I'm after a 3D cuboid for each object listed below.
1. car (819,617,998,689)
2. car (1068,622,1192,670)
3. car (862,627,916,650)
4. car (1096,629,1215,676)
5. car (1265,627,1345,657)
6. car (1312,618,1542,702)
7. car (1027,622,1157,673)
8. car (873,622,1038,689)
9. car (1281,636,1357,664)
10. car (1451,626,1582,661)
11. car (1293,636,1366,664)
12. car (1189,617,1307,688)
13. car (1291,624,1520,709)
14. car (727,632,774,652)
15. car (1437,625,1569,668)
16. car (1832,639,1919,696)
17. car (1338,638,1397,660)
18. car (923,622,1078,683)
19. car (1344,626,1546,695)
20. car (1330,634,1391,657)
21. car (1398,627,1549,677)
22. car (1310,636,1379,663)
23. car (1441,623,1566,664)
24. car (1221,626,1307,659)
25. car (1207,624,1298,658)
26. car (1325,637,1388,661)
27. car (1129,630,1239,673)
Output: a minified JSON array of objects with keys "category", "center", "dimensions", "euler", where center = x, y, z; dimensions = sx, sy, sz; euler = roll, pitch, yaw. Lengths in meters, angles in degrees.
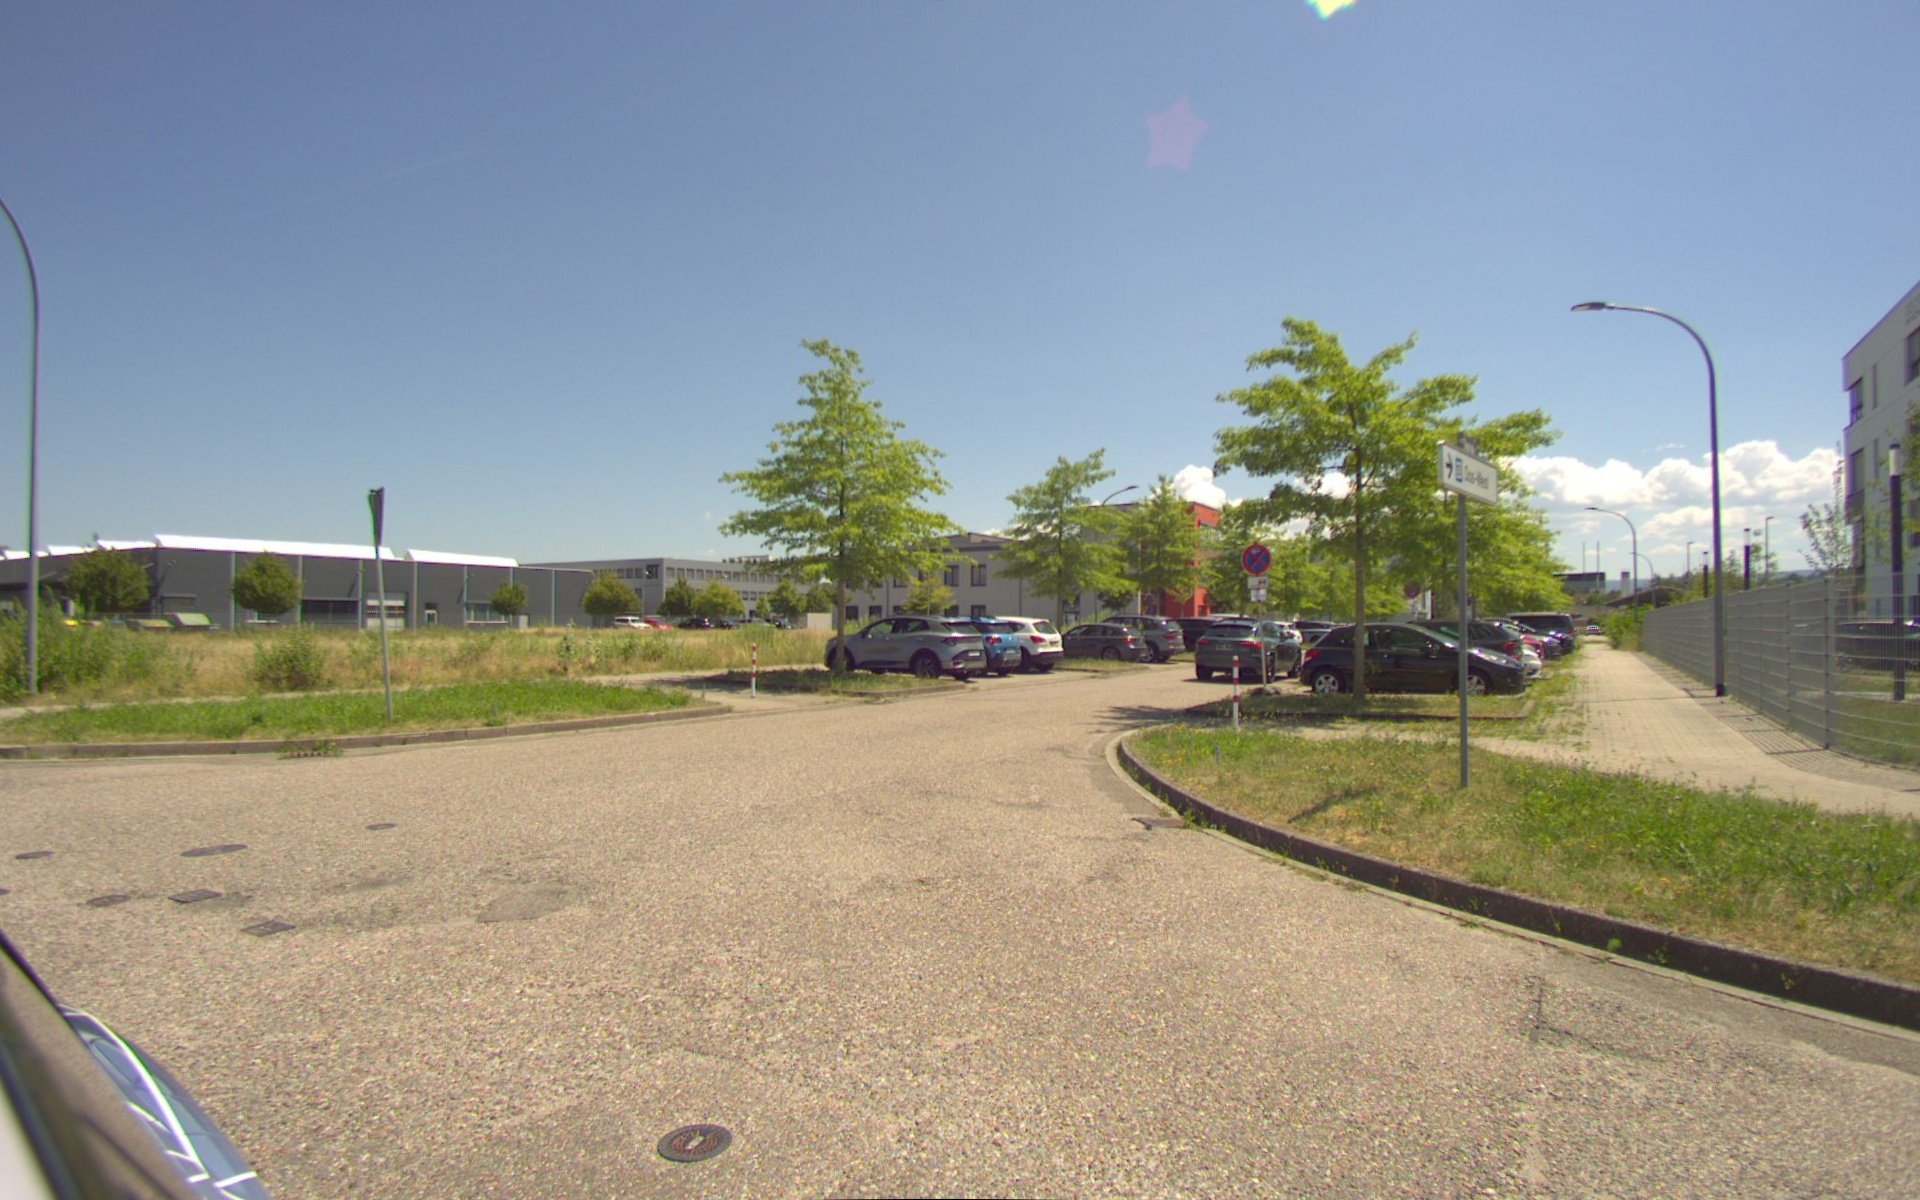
[{"category":"car","center":[-1.348,1.311,25.972],"dimensions":[4.296,1.711,1.936],"euler":[-1,-2,33]},{"category":"car","center":[6.340,1.683,37.843],"dimensions":[4.192,1.711,1.936],"euler":[-1,-2,33]},{"category":"car","center":[-5.751,3.125,82.468],"dimensions":[3.985,1.763,1.979],"euler":[-1,-3,31]},{"category":"car","center":[7.599,1.997,39.441],"dimensions":[4.192,1.711,1.936],"euler":[-1,-2,33]},{"category":"car","center":[20.532,2.451,60.305],"dimensions":[4.192,1.711,1.936],"euler":[-1,-2,33]},{"category":"car","center":[9.944,1.292,21.689],"dimensions":[4.242,1.633,1.592],"euler":[-3,-4,34]},{"category":"car","center":[4.670,1.639,35.914],"dimensions":[4.192,1.711,1.936],"euler":[-1,-2,33]},{"category":"car","center":[-0.158,1.491,28.296],"dimensions":[4.296,1.711,1.936],"euler":[-1,-2,33]},{"category":"car","center":[22.699,3.127,64.054],"dimensions":[4.192,1.711,1.936],"euler":[-1,-2,33]},{"category":"car","center":[25.405,2.026,46.261],"dimensions":[5.097,1.487,2.192],"euler":[-3,-4,32]},{"category":"car","center":[24.113,3.219,66.099],"dimensions":[4.192,1.711,1.936],"euler":[-1,-2,33]},{"category":"car","center":[7.976,1.418,27.720],"dimensions":[1.993,1.706,4.588],"euler":[1,-2,31]},{"category":"car","center":[8.540,1.266,19.521],"dimensions":[3.788,1.487,1.592],"euler":[-3,-4,34]},{"category":"car","center":[-19.384,3.873,93.641],"dimensions":[3.983,1.763,1.980],"euler":[-1,-3,29]},{"category":"car","center":[19.657,1.716,36.713],"dimensions":[4.101,1.487,1.594],"euler":[-3,-4,32]},{"category":"car","center":[26.568,1.840,27.472],"dimensions":[4.090,1.523,1.757],"euler":[-1,-3,31]},{"category":"car","center":[32.917,3.925,81.774],"dimensions":[4.192,1.711,1.936],"euler":[-1,-2,33]},{"category":"car","center":[1.188,1.514,30.280],"dimensions":[4.296,1.711,1.936],"euler":[-1,-2,33]},{"category":"car","center":[11.328,1.415,23.726],"dimensions":[4.101,1.487,1.594],"euler":[-3,-4,32]},{"category":"car","center":[31.614,3.564,79.910],"dimensions":[4.192,1.711,1.936],"euler":[-1,-2,33]},{"category":"car","center":[16.101,1.661,31.796],"dimensions":[4.101,1.487,1.594],"euler":[-3,-4,32]},{"category":"car","center":[26.687,3.410,70.248],"dimensions":[4.192,1.711,1.936],"euler":[-1,-2,33]},{"category":"car","center":[20.876,1.684,38.916],"dimensions":[4.101,1.487,1.594],"euler":[-3,-4,32]},{"category":"car","center":[16.610,2.305,55.340],"dimensions":[4.192,1.711,1.936],"euler":[-1,-2,33]},{"category":"car","center":[15.311,2.105,52.983],"dimensions":[4.192,1.711,1.936],"euler":[-1,-2,33]},{"category":"car","center":[30.493,3.745,77.854],"dimensions":[4.192,1.711,1.936],"euler":[-1,-2,33]},{"category":"car","center":[9.493,2.162,42.989],"dimensions":[4.192,1.711,1.936],"euler":[-1,-2,33]}]
